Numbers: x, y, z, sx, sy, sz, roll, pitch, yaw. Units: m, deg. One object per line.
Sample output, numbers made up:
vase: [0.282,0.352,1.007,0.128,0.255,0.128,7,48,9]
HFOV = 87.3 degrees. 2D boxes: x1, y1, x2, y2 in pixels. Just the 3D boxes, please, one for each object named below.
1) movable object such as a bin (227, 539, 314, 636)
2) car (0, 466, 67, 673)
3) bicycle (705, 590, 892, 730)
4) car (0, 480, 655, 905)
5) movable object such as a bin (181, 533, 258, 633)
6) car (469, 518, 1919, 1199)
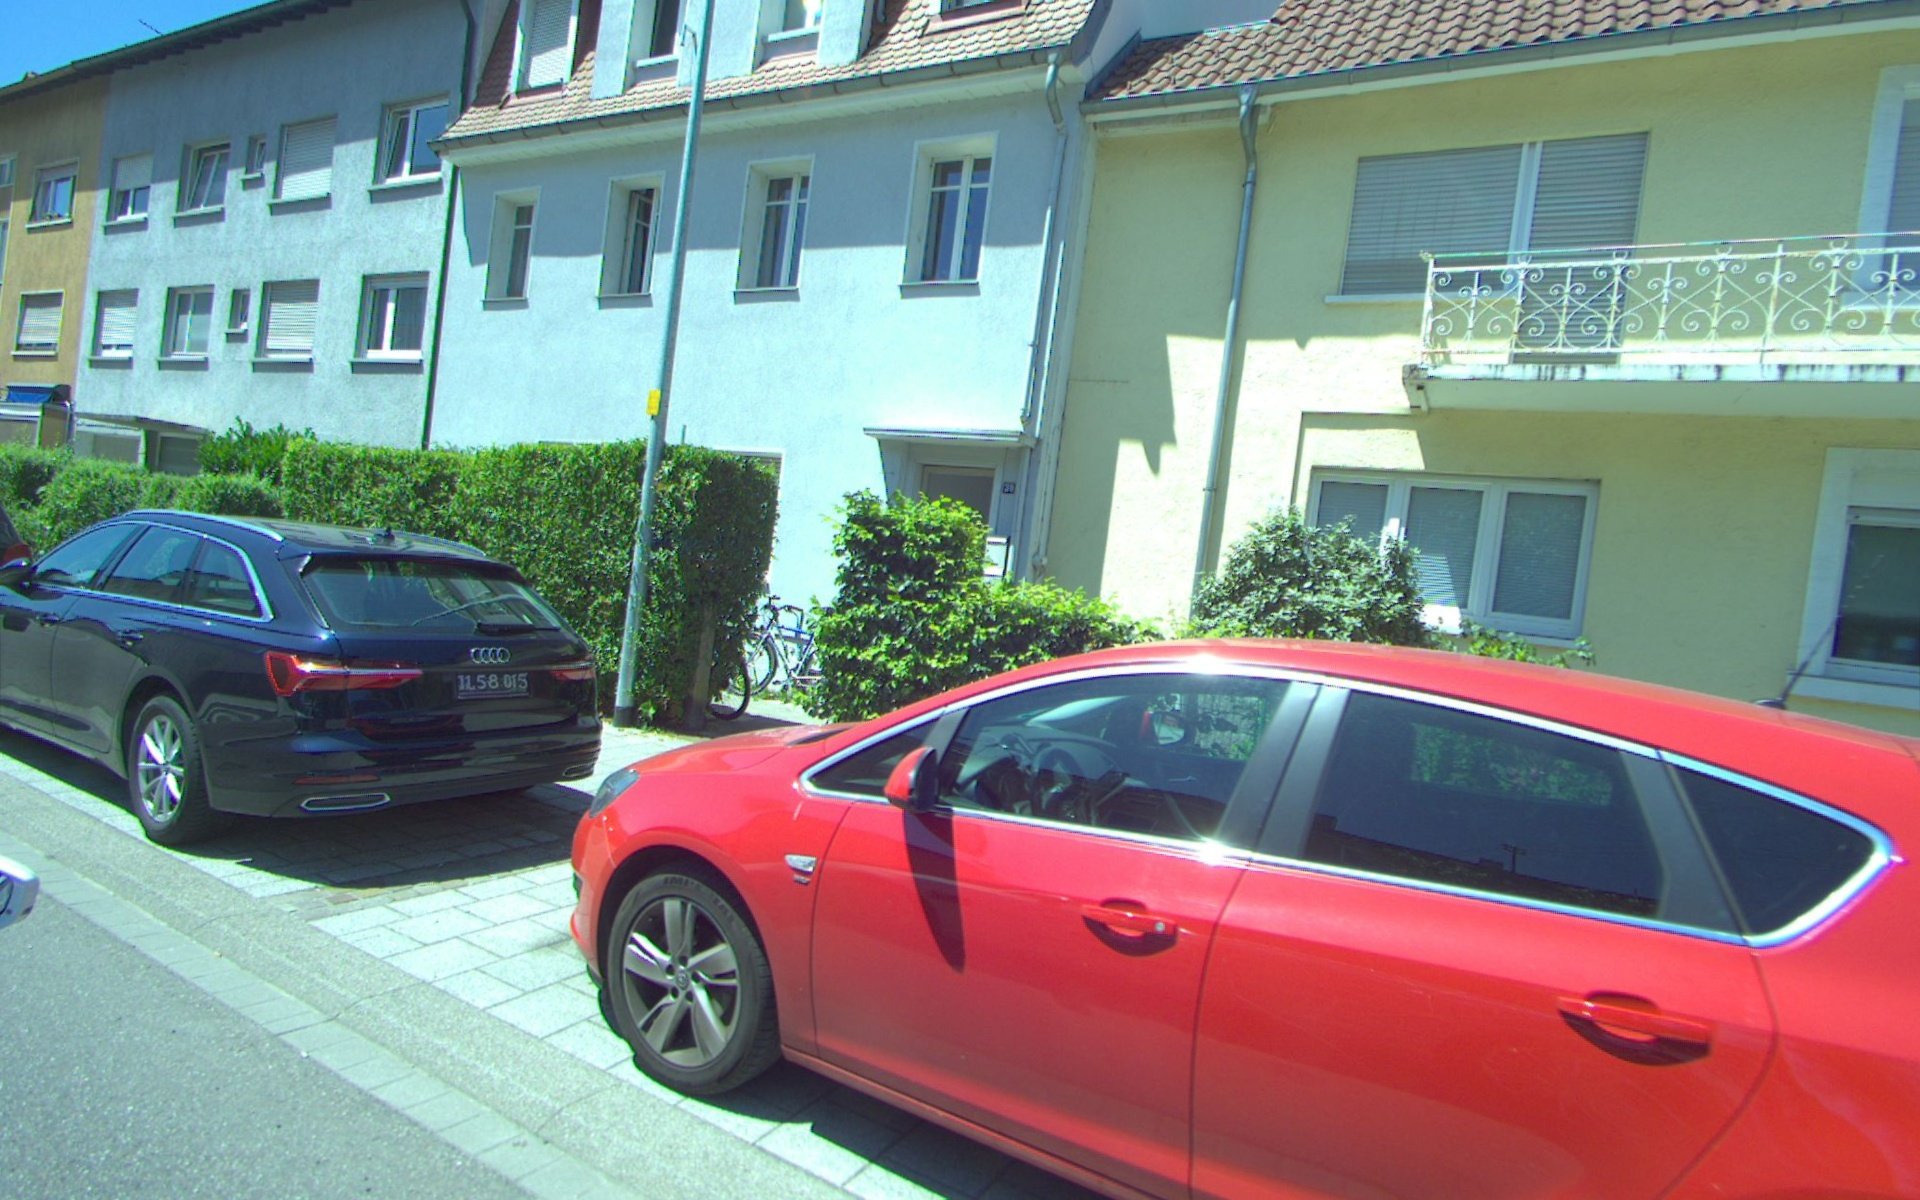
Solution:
movable object such as a bin: [-8.589,-0.150,12.538,0.763,1.098,0.554,7,1,32]
car: [-9.542,-0.461,8.766,3.936,1.655,1.727,7,3,35]
bicycle: [-1.751,0.627,10.825,1.852,1.220,0.533,8,-1,25]
car: [-4.136,0.214,5.818,4.640,1.495,1.804,7,3,30]
movable object such as a bin: [-8.886,-0.202,12.069,0.546,1.117,0.488,7,1,31]
car: [0.691,0.780,2.990,4.080,1.549,1.806,7,0,30]
